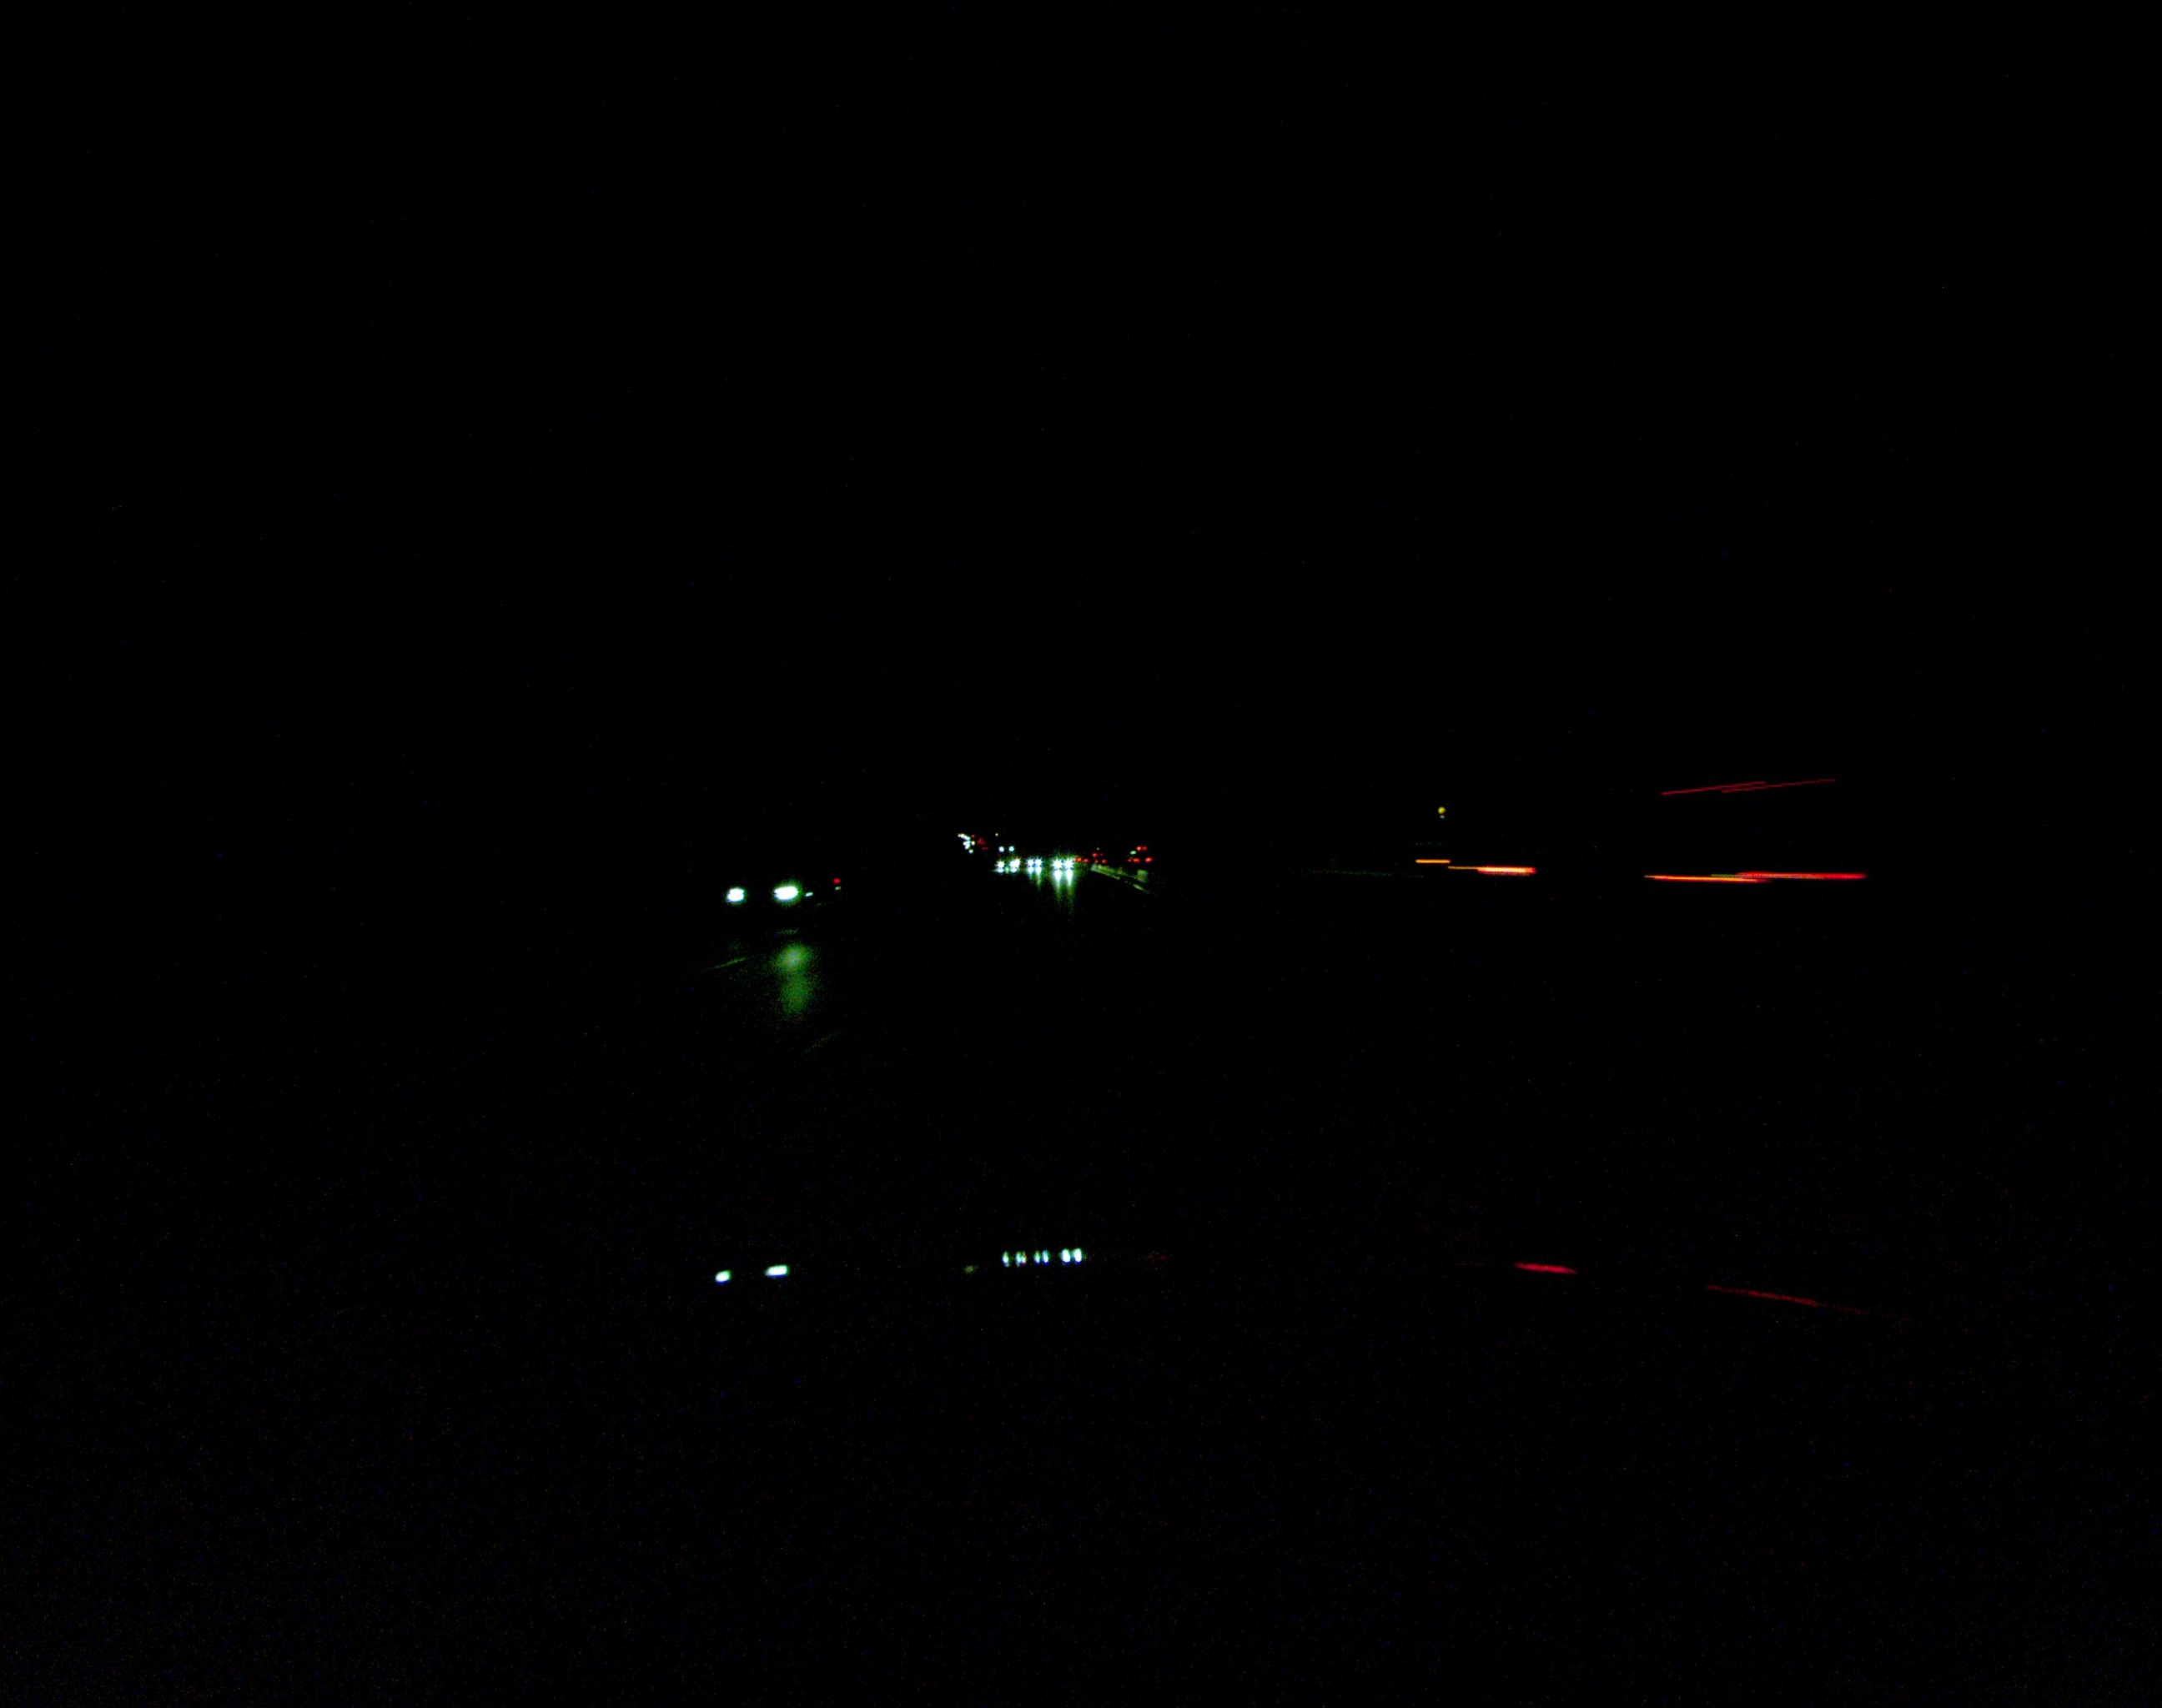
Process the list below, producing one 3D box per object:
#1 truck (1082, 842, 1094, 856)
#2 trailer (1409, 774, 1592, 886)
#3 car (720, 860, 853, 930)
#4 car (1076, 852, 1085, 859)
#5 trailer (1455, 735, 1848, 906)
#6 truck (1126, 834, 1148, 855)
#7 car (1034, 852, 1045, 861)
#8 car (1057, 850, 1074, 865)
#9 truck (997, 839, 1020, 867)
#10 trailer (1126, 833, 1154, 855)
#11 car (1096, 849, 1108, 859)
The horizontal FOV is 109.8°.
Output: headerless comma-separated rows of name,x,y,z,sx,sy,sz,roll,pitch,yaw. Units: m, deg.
truck,2.163,-1.523,246.918,3.059,4.412,10.419,-2,0,-4
trailer,15.709,-0.842,29.250,3.065,3.668,7.229,-2,1,1
car,-8.335,1.067,22.079,1.999,1.707,5.166,-2,0,-3
car,-0.091,0.381,206.062,2.071,1.613,4.694,-2,0,-2
trailer,15.573,-0.788,22.737,3.065,3.667,11.686,-2,0,1
truck,11.072,-1.861,151.414,3.446,3.983,6.772,-2,1,-3
car,-7.903,0.513,144.477,1.940,1.608,3.998,-2,0,-4
car,-1.896,0.422,92.422,2.012,1.652,3.999,-2,0,-1
truck,-12.010,-0.210,126.601,3.347,4.408,6.990,-2,1,-4
trailer,11.272,-1.840,147.447,3.446,3.983,14.754,-2,0,-3
car,5.125,0.041,186.312,2.058,2.185,6.964,-2,0,-3
